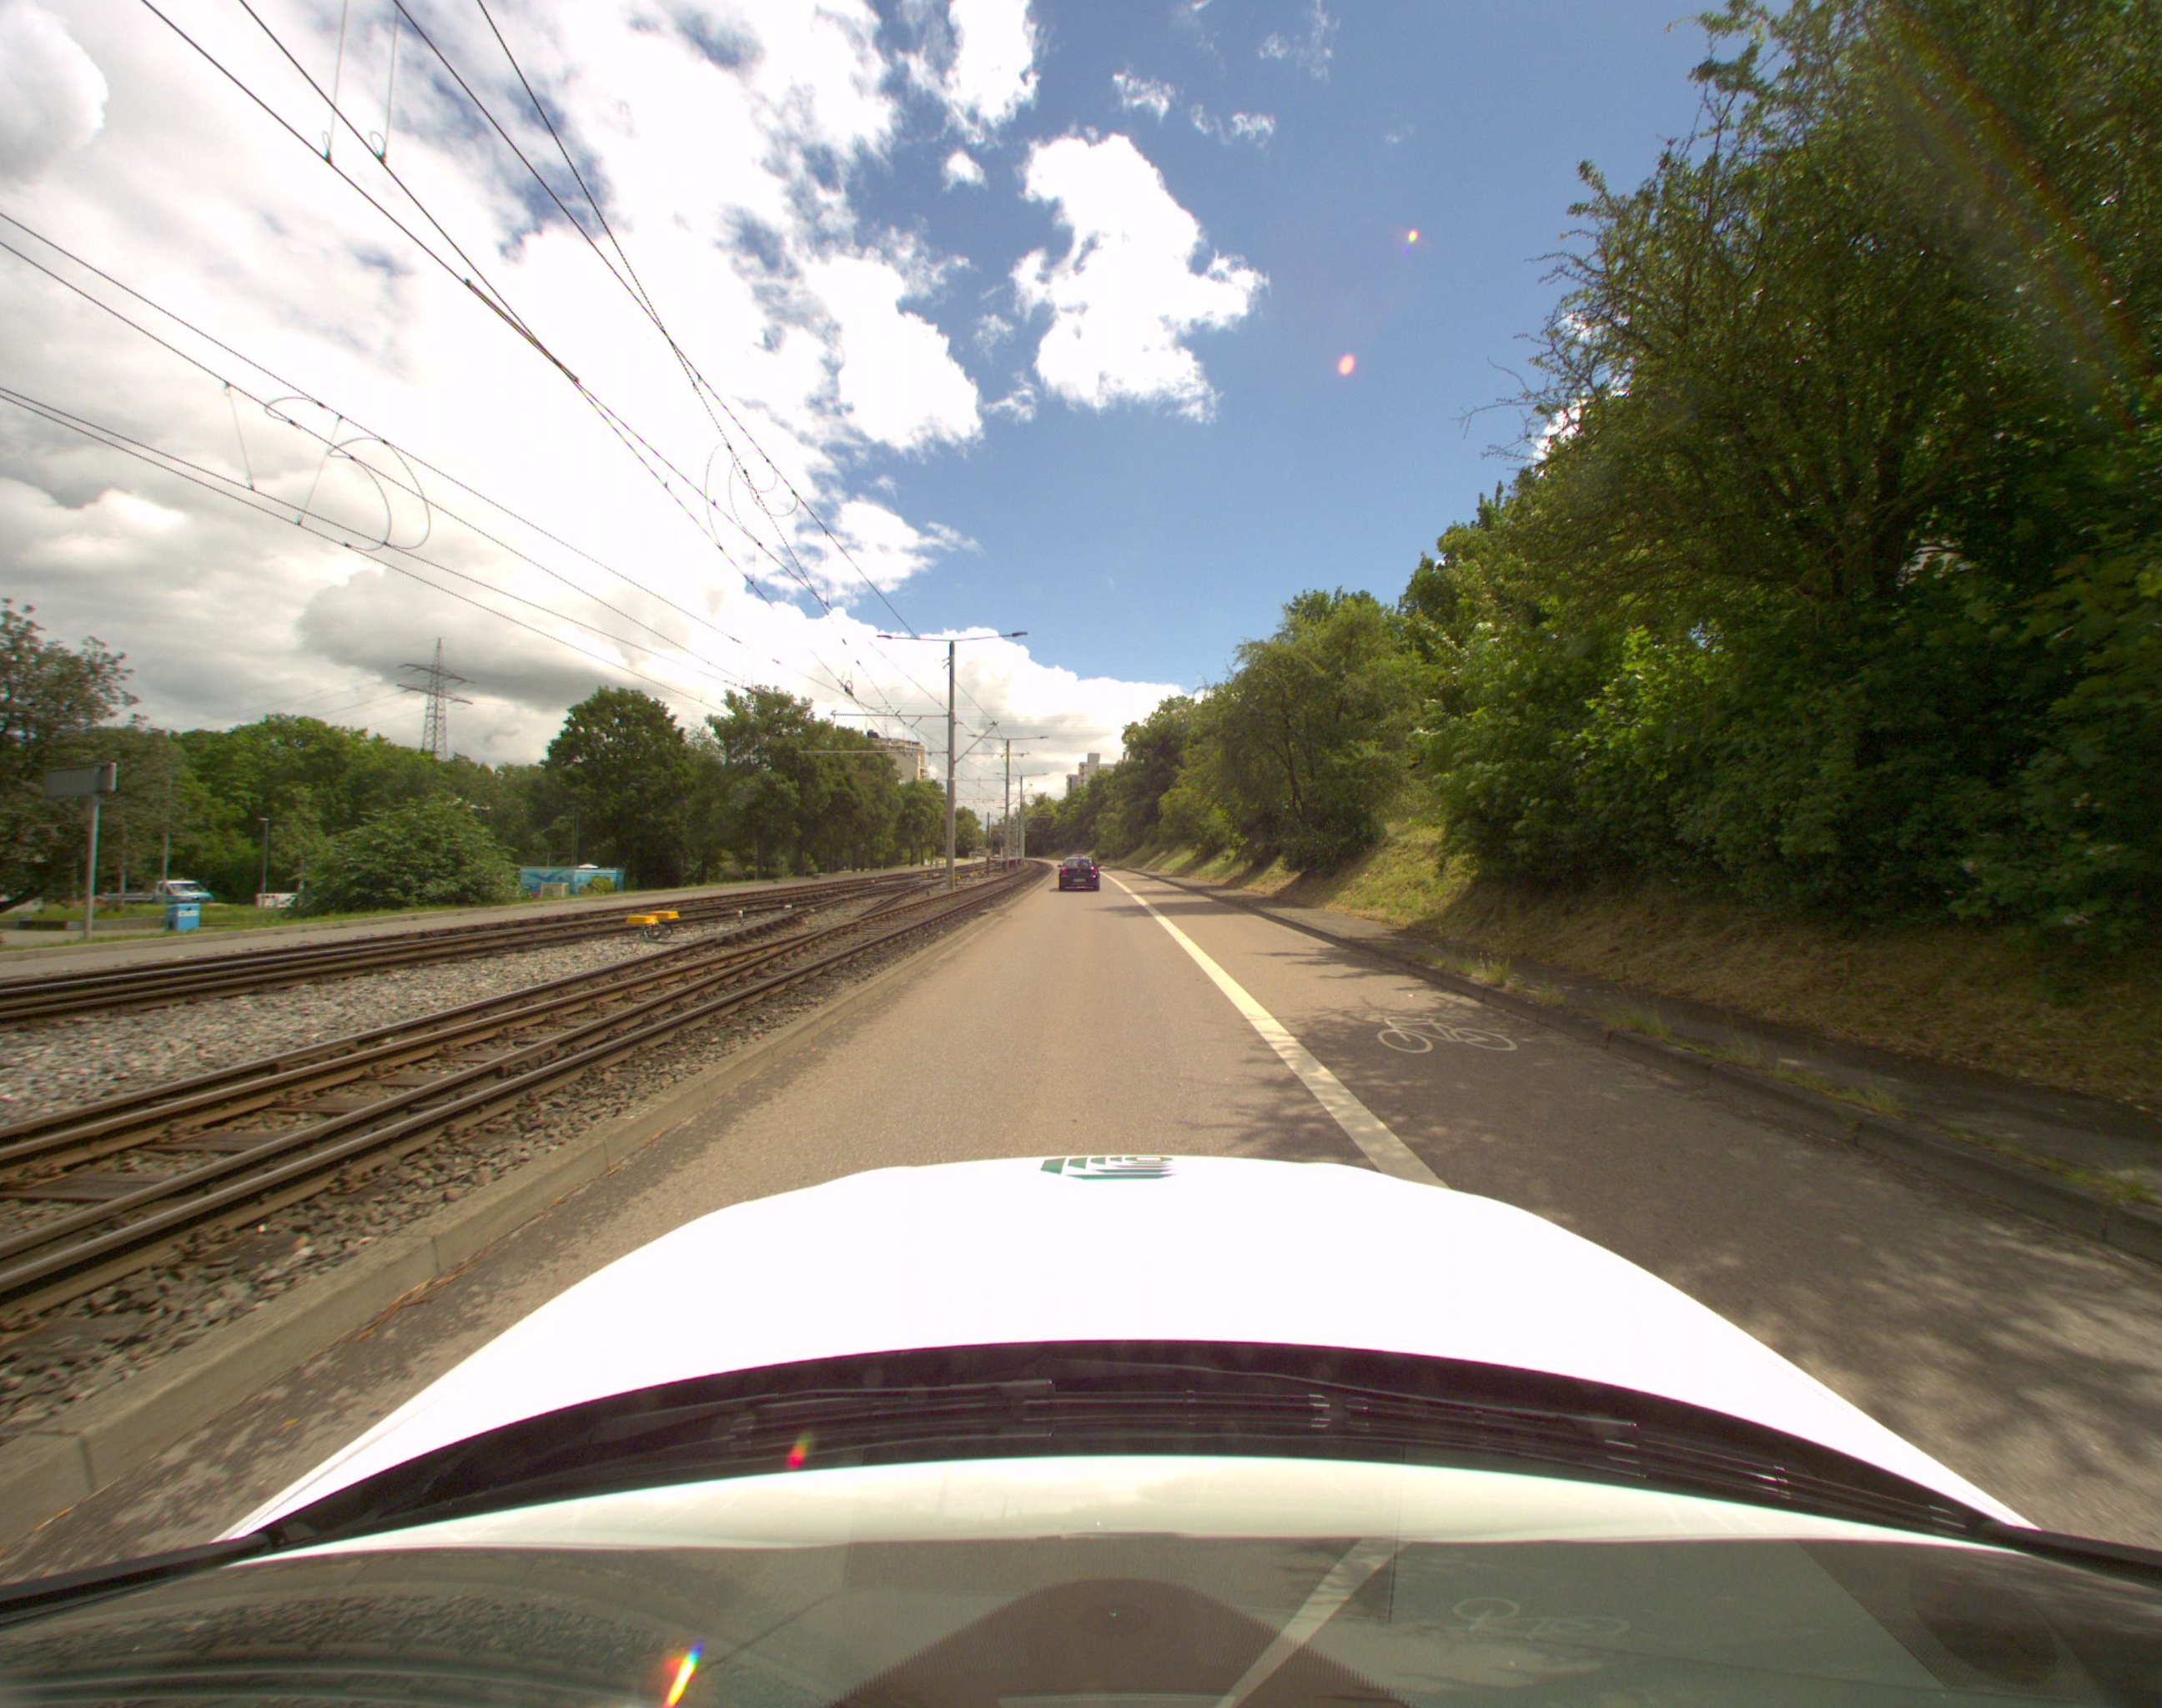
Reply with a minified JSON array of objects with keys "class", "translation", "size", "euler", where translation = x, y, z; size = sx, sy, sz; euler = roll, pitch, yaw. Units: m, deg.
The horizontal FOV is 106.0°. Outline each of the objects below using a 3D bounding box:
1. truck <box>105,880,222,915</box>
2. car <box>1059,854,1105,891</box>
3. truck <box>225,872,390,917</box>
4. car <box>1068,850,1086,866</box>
[{"class":"truck","translation":[-65.066,3.077,57.821],"size":[5.813,2.178,1.998],"euler":[-2,0,-2]},{"class":"car","translation":[0.083,0.787,35.080],"size":[1.701,1.460,3.963],"euler":[2,-1,3]},{"class":"truck","translation":[-54.447,2.829,57.473],"size":[9.059,2.695,2.615],"euler":[-2,0,0]},{"class":"car","translation":[-0.398,0.368,82.070],"size":[1.620,1.443,3.418],"euler":[1,1,-3]}]
